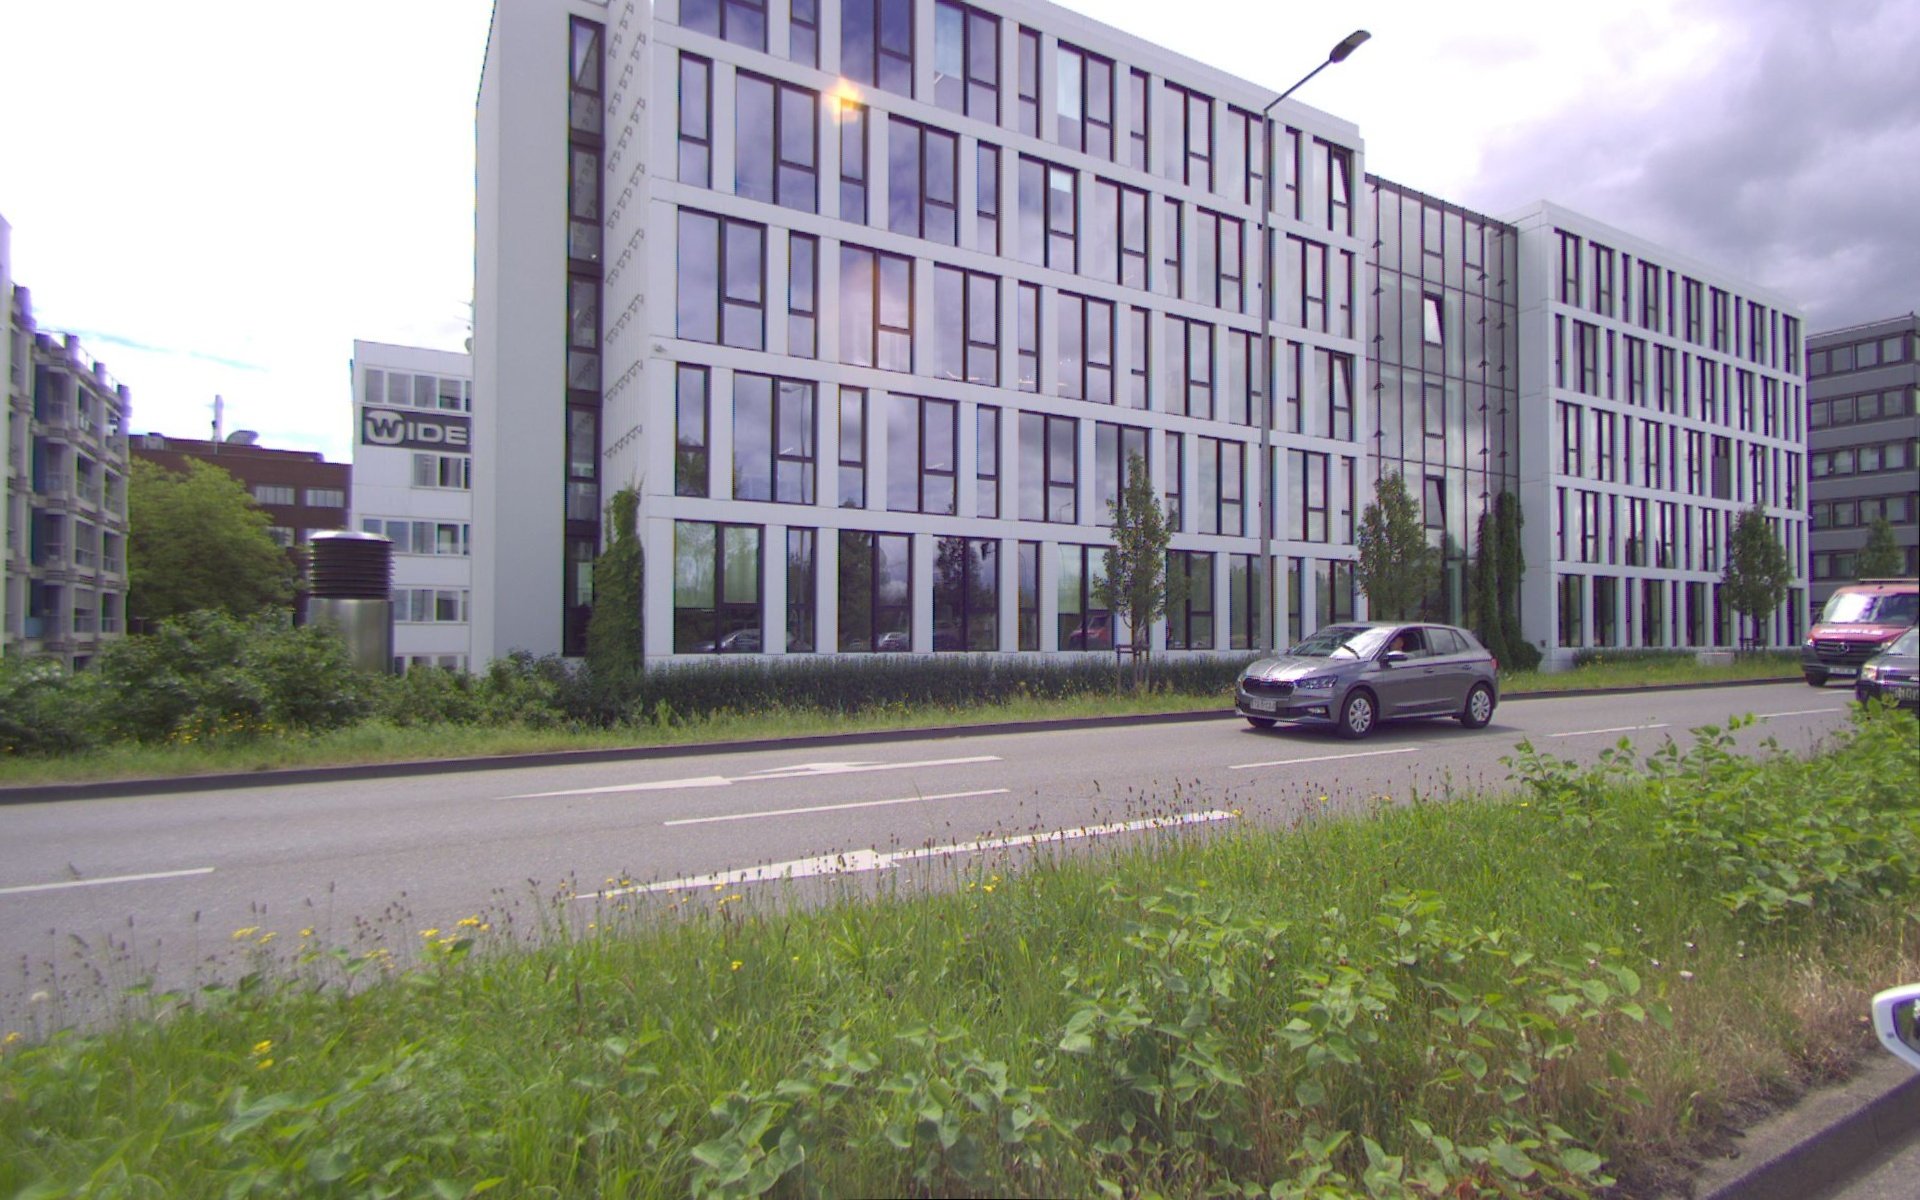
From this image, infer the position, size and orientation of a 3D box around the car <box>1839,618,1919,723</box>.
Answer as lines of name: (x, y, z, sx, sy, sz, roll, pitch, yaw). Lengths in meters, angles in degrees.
car: (15.452, 1.039, 15.508, 3.953, 1.502, 1.671, 1, -1, -30)

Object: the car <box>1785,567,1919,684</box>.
car: (21.411, 0.590, 22.989, 5.172, 2.444, 1.987, 1, -1, -27)

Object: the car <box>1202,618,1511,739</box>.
car: (5.445, 0.972, 13.725, 3.953, 1.416, 1.923, 1, -1, -30)
